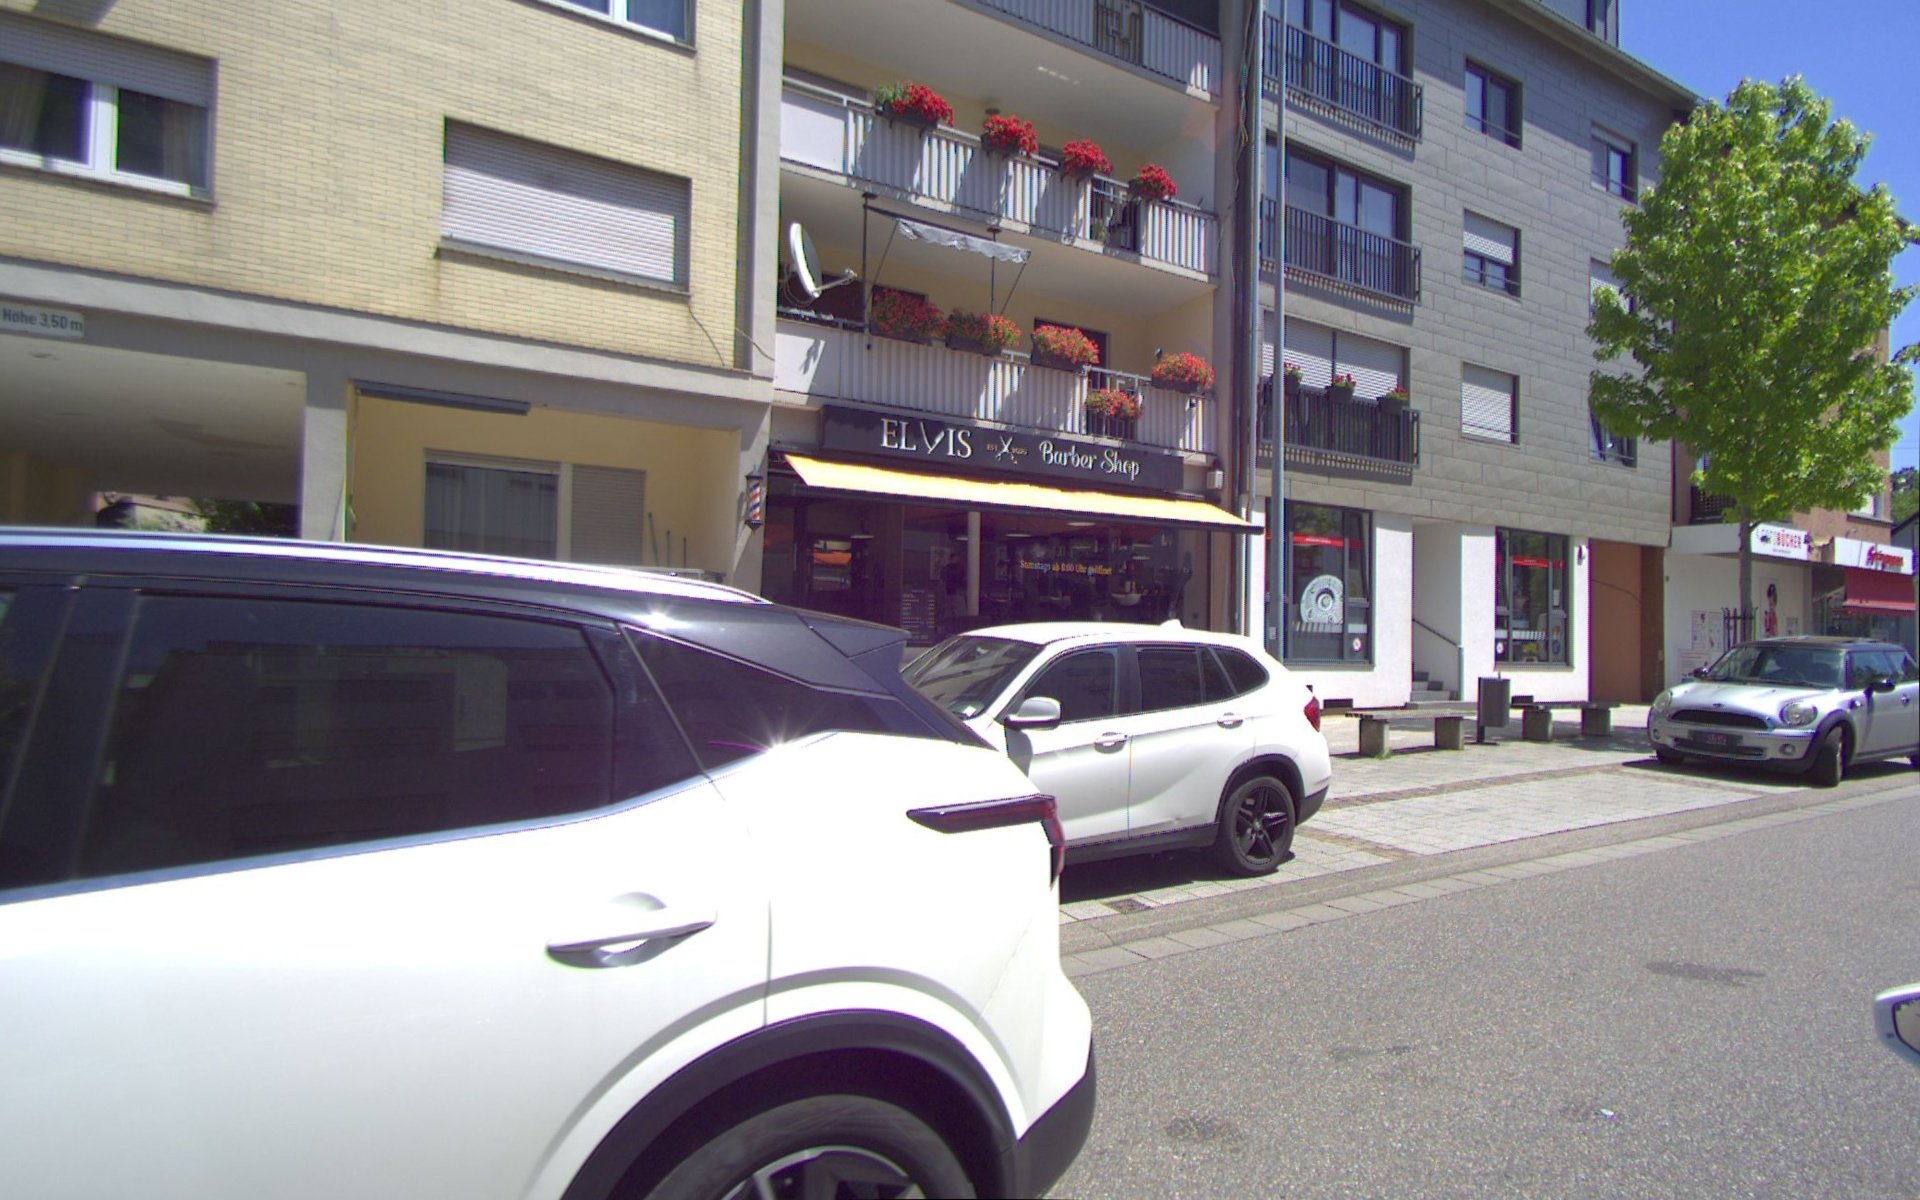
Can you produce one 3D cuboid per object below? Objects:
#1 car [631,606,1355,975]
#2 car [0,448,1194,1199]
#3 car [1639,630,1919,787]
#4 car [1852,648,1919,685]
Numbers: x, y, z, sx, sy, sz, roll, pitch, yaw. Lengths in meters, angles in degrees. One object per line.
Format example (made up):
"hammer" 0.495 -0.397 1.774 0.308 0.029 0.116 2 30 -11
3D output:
"car" 0.323 0.902 6.253 4.248 1.613 1.687 2 0 -30
"car" -1.814 0.686 1.657 4.248 1.654 1.763 2 -3 -30
"car" 9.382 1.107 11.228 3.506 1.493 1.614 2 -2 -30
"car" 40.359 2.766 41.866 1.747 1.476 4.404 1 -2 -30
